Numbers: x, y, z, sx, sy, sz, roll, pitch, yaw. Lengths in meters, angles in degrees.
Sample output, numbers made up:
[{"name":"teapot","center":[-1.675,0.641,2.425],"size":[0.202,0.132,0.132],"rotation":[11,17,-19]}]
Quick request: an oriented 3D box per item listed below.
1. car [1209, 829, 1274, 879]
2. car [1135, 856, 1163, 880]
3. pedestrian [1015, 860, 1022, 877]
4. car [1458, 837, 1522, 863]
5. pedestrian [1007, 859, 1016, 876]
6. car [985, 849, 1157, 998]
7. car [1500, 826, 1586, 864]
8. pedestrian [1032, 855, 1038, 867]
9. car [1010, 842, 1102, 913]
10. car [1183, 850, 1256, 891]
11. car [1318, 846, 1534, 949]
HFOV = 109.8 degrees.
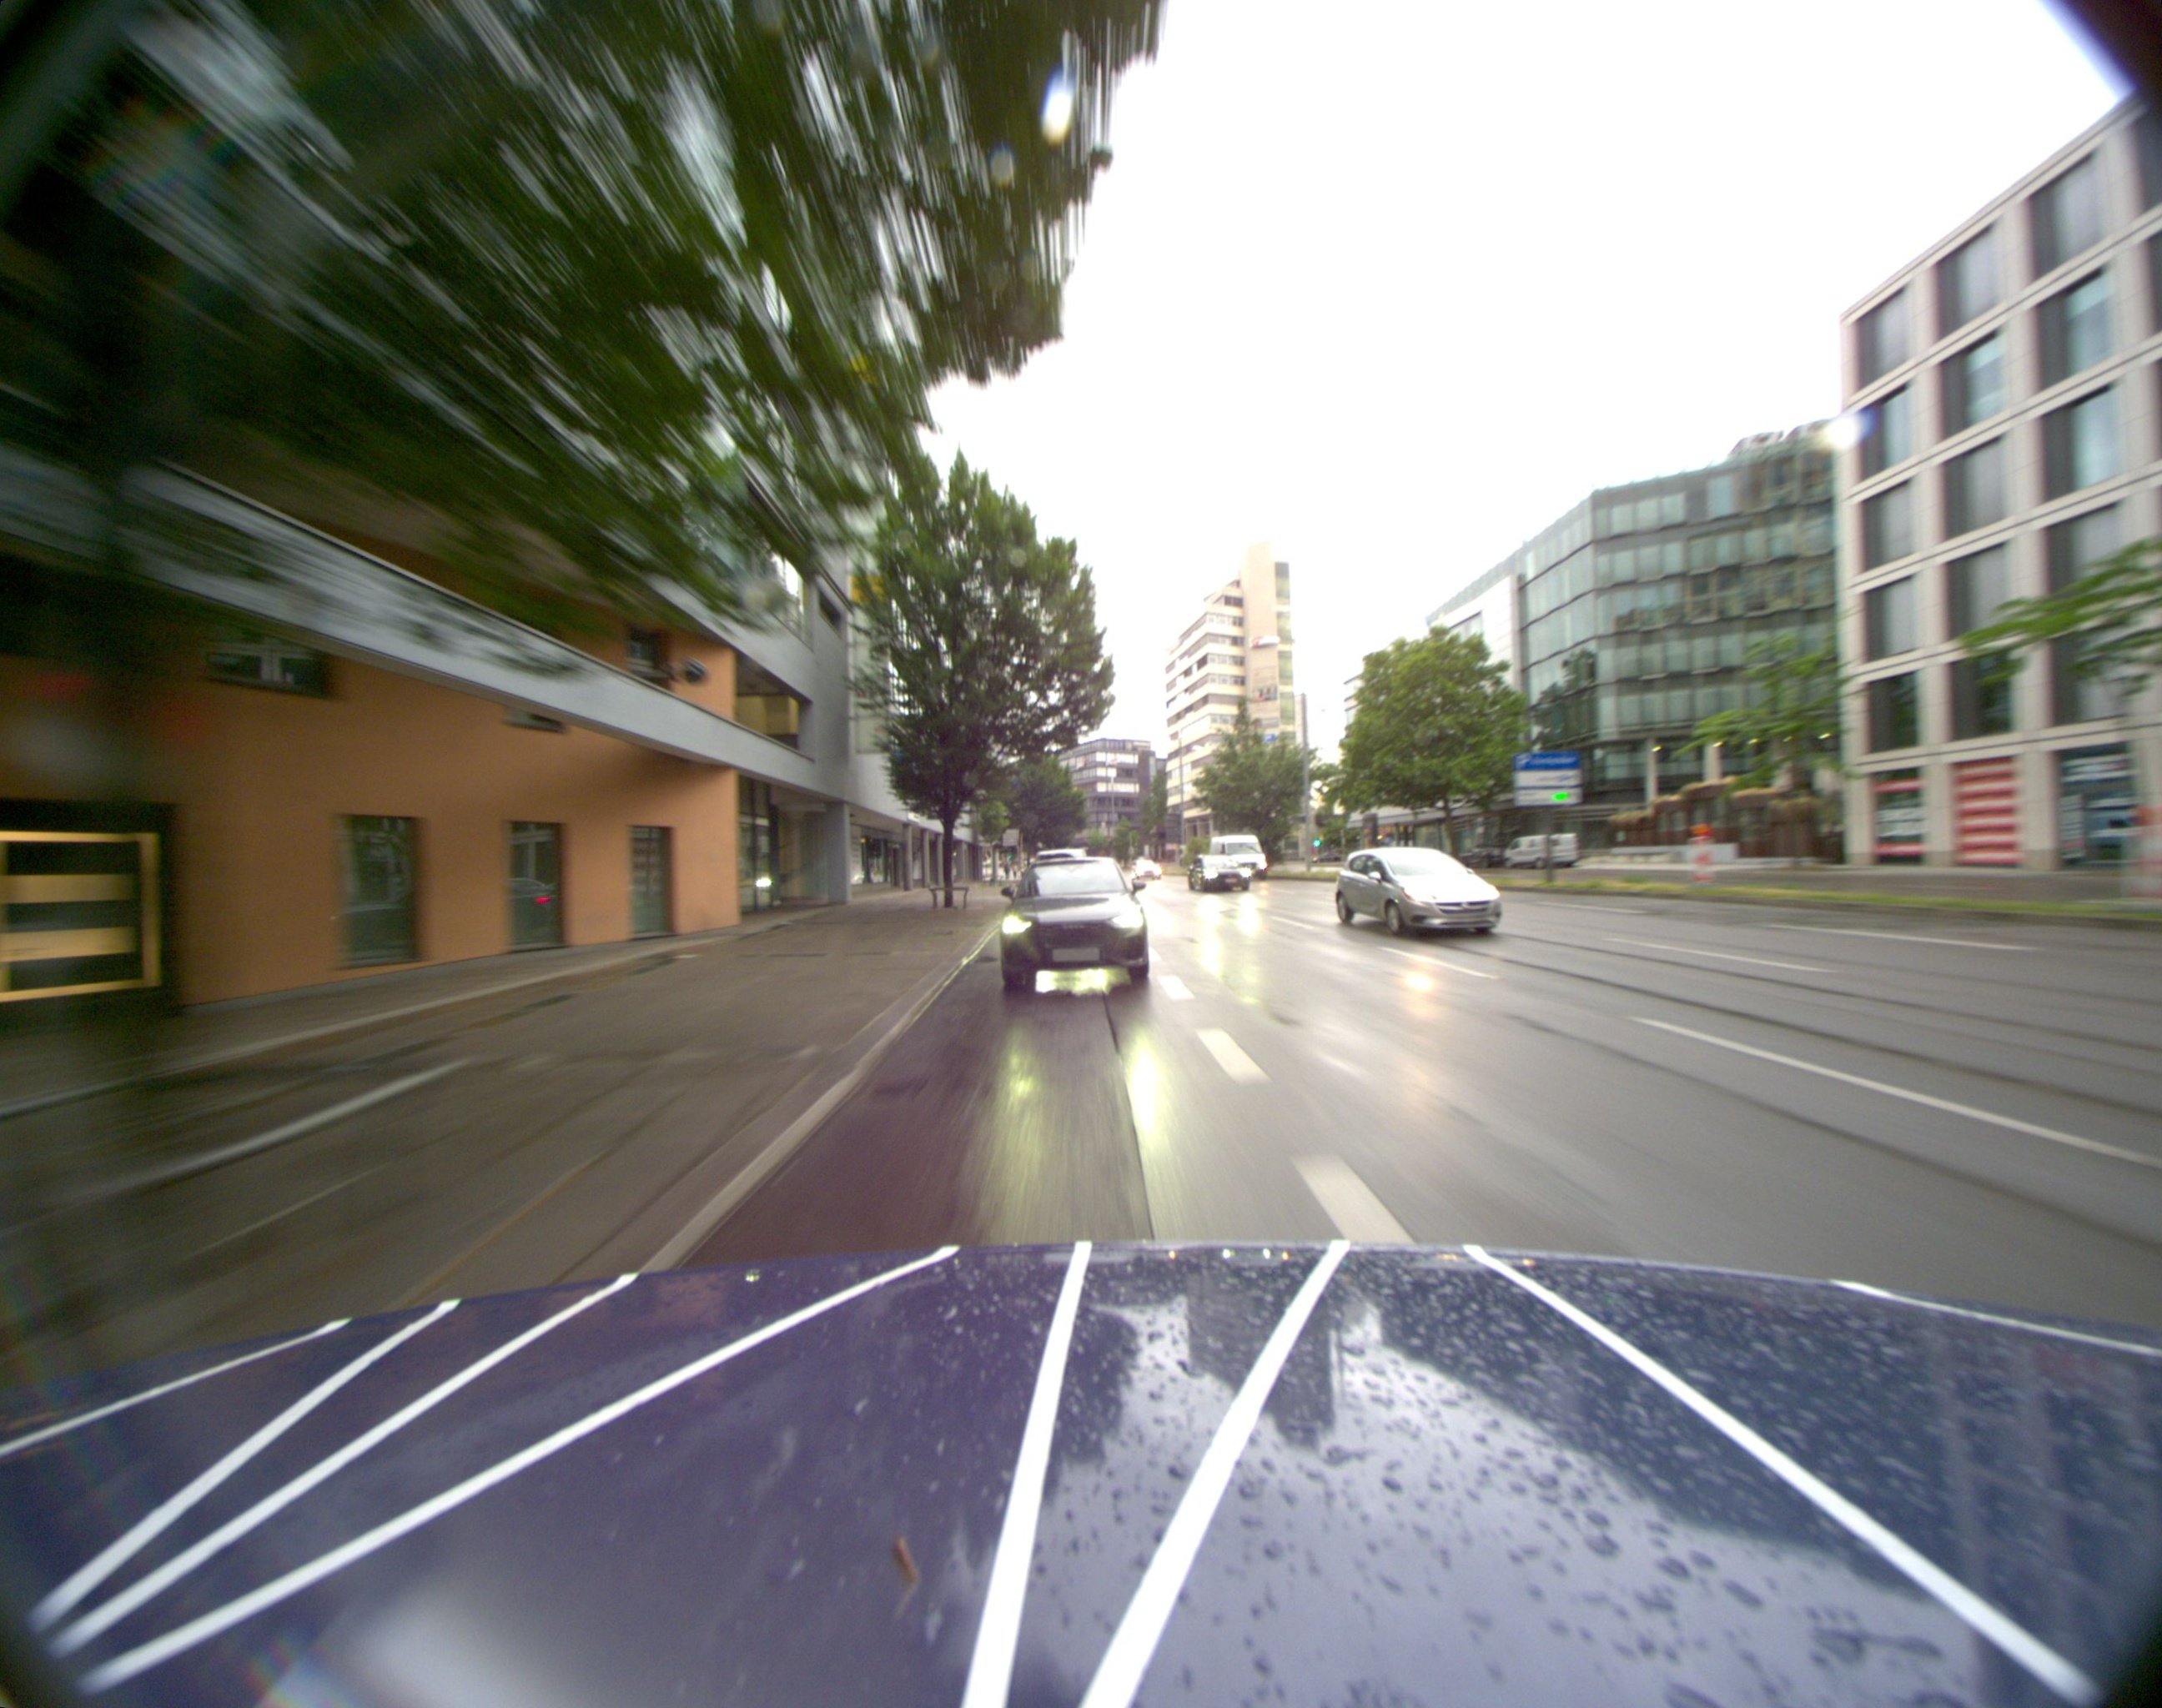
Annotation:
[{"name":"car","center":[8.491,-0.040,40.821],"size":[2.259,2.372,5.718],"rotation":[-4,1,1]},{"name":"car","center":[4.965,1.012,56.031],"size":[1.784,1.499,3.999],"rotation":[-4,1,2]},{"name":"pedestrian","center":[-6.710,1.563,81.533],"size":[0.641,1.772,0.880],"rotation":[-4,0,-1]},{"name":"car","center":[27.094,-0.285,50.532],"size":[1.802,1.520,4.285],"rotation":[-4,1,-1]},{"name":"pedestrian","center":[-7.361,1.426,80.037],"size":[0.794,1.772,0.894],"rotation":[-4,0,-4]},{"name":"car","center":[0.093,0.803,10.958],"size":[1.801,1.543,4.389],"rotation":[-4,1,7]},{"name":"car","center":[27.402,-0.567,45.315],"size":[1.999,2.002,4.914],"rotation":[-4,1,-1]},{"name":"pedestrian","center":[-6.278,0.984,103.399],"size":[0.654,1.589,1.058],"rotation":[-4,2,-7]},{"name":"car","center":[-0.652,0.639,24.291],"size":[2.058,1.881,5.050],"rotation":[-4,1,7]},{"name":"car","center":[5.486,0.613,30.699],"size":[1.905,1.393,4.239],"rotation":[-4,1,-3]},{"name":"car","center":[6.048,0.649,13.932],"size":[1.775,1.470,4.125],"rotation":[-4,1,-4]}]
